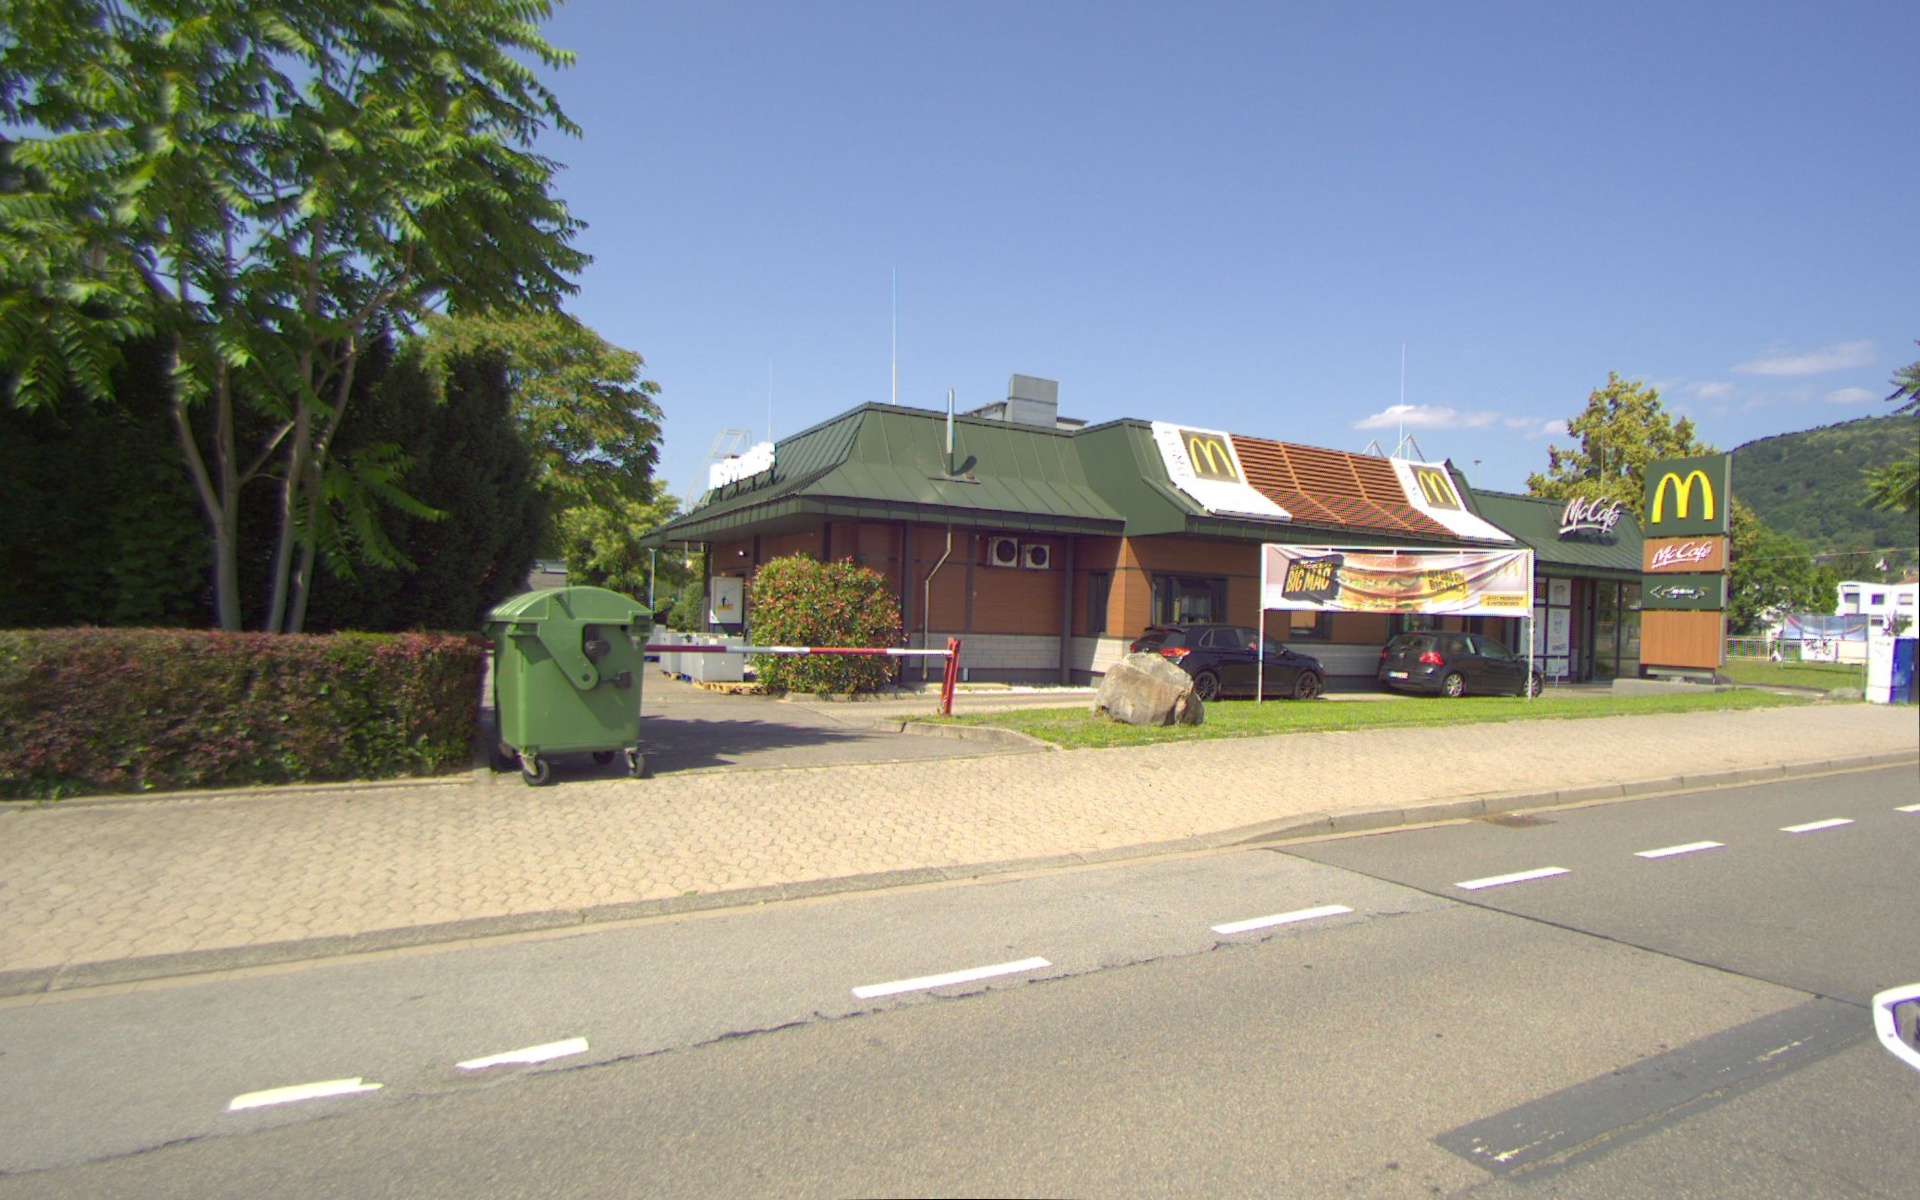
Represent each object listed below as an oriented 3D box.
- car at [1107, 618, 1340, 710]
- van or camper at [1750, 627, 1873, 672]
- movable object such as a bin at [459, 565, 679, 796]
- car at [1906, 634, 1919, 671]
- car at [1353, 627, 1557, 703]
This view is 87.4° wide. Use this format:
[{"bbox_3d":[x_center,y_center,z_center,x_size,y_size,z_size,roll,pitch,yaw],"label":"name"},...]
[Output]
[{"bbox_3d":[5.110,1.168,19.348,4.269,1.496,1.818,1,2,-30],"label":"car"},{"bbox_3d":[37.821,2.141,44.666,1.987,1.595,3.946,0,3,-45],"label":"van or camper"},{"bbox_3d":[-3.125,0.573,7.969,1.295,1.611,1.438,1,0,-36],"label":"movable object such as a bin"},{"bbox_3d":[45.003,2.395,44.547,1.985,1.613,4.276,1,-1,-41],"label":"car"},{"bbox_3d":[11.083,1.404,22.478,4.075,1.435,1.987,1,2,-26],"label":"car"}]
